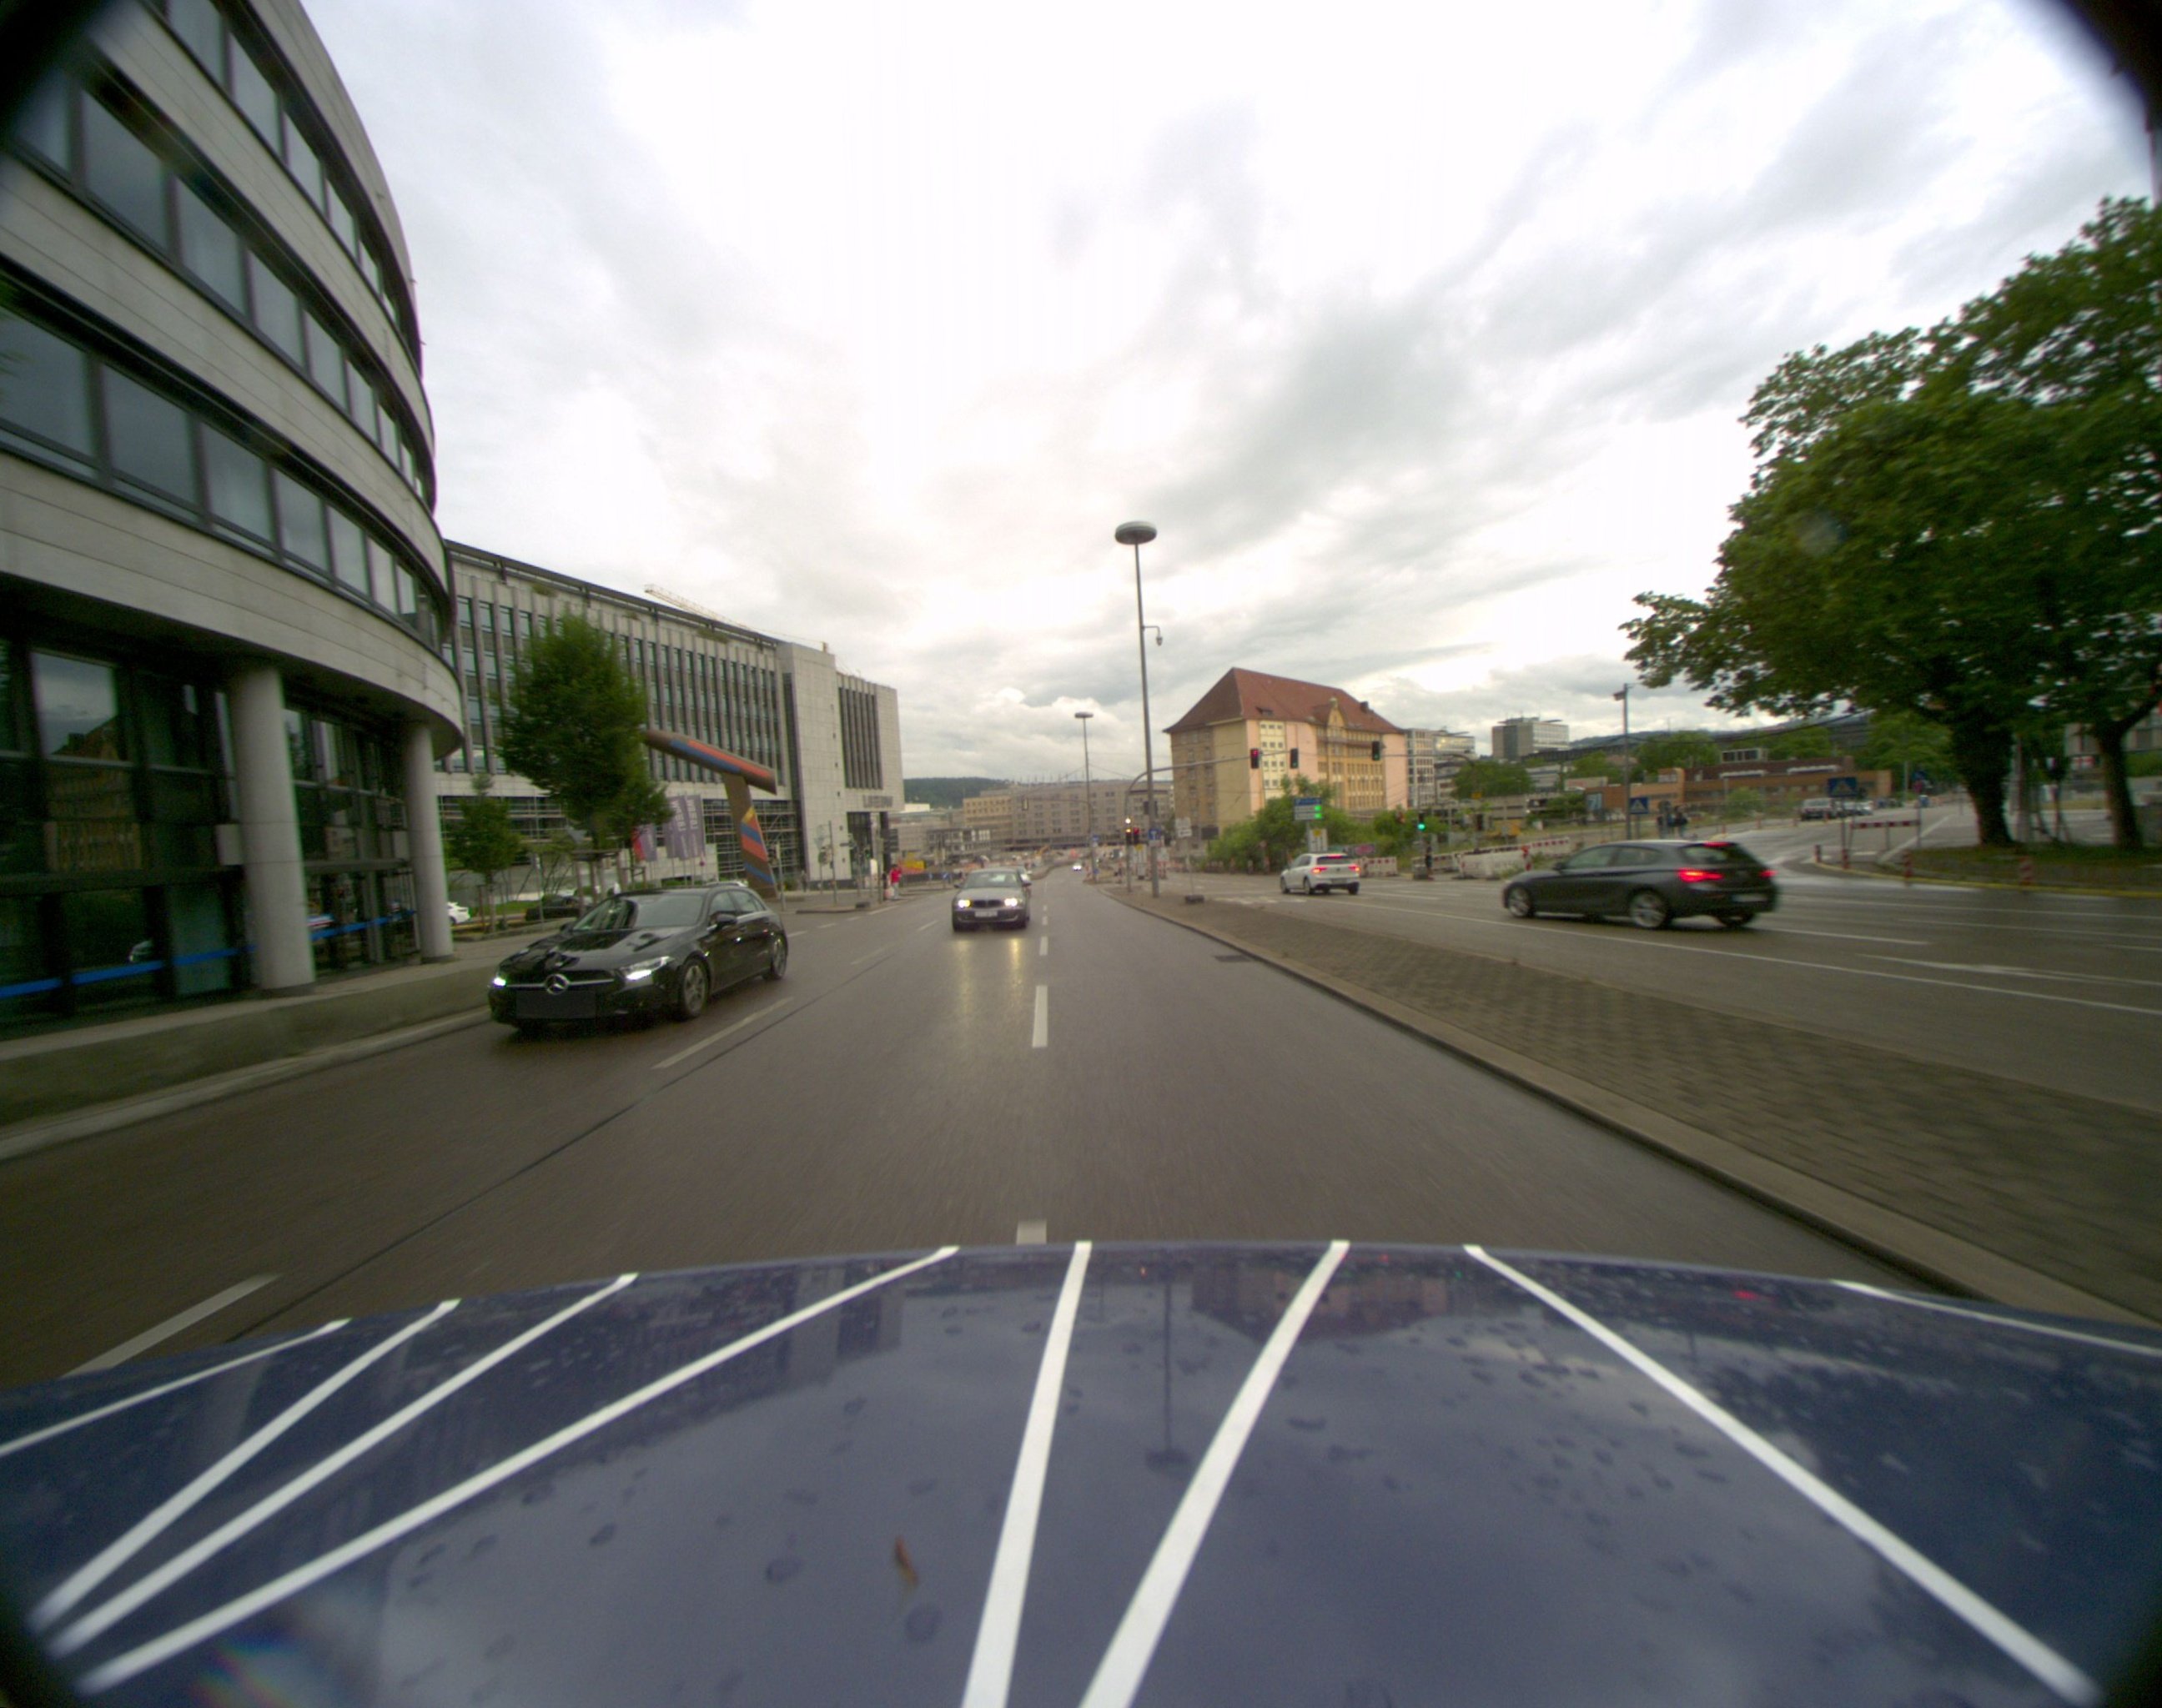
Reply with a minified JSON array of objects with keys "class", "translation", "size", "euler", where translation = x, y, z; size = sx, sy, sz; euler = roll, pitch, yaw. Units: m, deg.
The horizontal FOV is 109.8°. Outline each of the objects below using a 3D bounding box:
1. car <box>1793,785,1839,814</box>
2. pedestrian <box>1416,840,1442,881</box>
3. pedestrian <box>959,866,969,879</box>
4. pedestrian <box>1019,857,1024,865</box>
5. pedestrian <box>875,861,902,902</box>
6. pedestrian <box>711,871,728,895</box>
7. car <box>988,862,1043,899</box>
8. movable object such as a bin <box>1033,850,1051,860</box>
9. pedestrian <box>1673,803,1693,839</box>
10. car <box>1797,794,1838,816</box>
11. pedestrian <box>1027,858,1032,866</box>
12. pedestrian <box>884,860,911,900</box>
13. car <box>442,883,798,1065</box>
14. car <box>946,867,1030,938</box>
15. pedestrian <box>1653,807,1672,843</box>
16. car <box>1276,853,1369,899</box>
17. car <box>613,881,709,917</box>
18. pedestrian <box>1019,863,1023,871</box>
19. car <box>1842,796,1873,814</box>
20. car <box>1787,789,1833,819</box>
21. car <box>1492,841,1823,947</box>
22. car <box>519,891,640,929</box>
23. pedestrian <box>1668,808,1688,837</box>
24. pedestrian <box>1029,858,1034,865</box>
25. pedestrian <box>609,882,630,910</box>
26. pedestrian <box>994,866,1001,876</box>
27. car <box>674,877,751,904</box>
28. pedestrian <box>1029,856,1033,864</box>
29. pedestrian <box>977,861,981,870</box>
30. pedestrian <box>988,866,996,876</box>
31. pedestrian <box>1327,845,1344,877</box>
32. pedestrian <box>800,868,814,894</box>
[{"class":"car","translation":[56.507,-4.202,58.408],"size":[4.006,2.002,1.995],"euler":[-5,3,-39]},{"class":"pedestrian","translation":[16.430,0.293,35.856],"size":[0.743,1.870,0.746],"euler":[-4,2,-11]},{"class":"pedestrian","translation":[-15.322,2.388,99.574],"size":[0.730,1.642,1.062],"euler":[-3,1,26]},{"class":"pedestrian","translation":[-12.743,1.478,162.804],"size":[0.778,1.713,0.892],"euler":[-3,2,18]},{"class":"pedestrian","translation":[-9.269,1.310,36.586],"size":[0.841,1.894,0.733],"euler":[-2,3,24]},{"class":"pedestrian","translation":[-26.614,2.114,55.882],"size":[0.731,1.701,0.843],"euler":[-3,2,-2]},{"class":"car","translation":[-3.102,1.244,36.736],"size":[1.968,1.539,4.220],"euler":[-3,0,3]},{"class":"movable object such as a bin","translation":[-10.531,0.296,205.898],"size":[4.135,2.521,1.995],"euler":[-5,3,-36]},{"class":"pedestrian","translation":[36.600,-1.984,46.206],"size":[0.744,2.128,0.745],"euler":[-5,2,-38]},{"class":"car","translation":[62.963,-4.213,64.926],"size":[4.006,1.696,1.995],"euler":[-5,3,-39]},{"class":"pedestrian","translation":[-11.655,1.753,172.081],"size":[0.818,1.839,0.933],"euler":[-2,3,35]},{"class":"pedestrian","translation":[-9.106,1.283,37.742],"size":[0.841,1.894,0.862],"euler":[-2,3,24]},{"class":"car","translation":[-4.969,1.176,9.033],"size":[1.759,1.399,4.226],"euler":[-2,1,-3]},{"class":"car","translation":[-2.192,1.101,18.877],"size":[1.744,1.434,3.999],"euler":[-3,0,-3]},{"class":"pedestrian","translation":[36.064,-1.796,47.095],"size":[0.703,2.159,0.745],"euler":[-5,3,-38]},{"class":"car","translation":[8.590,0.761,27.421],"size":[1.766,1.452,4.359],"euler":[-2,-1,-2]},{"class":"car","translation":[-22.758,2.417,41.283],"size":[3.998,1.434,1.865],"euler":[-4,3,-3]},{"class":"pedestrian","translation":[-11.841,2.540,150.371],"size":[0.648,1.623,0.907],"euler":[-3,2,-1]},{"class":"car","translation":[83.271,-5.255,81.475],"size":[4.290,1.696,1.884],"euler":[-5,3,-39]},{"class":"car","translation":[52.291,-3.626,54.486],"size":[4.006,1.955,1.809],"euler":[-5,3,-39]},{"class":"car","translation":[9.382,0.593,12.925],"size":[1.813,1.440,4.336],"euler":[-2,-1,-12]},{"class":"car","translation":[-23.906,2.665,36.280],"size":[4.707,1.434,1.868],"euler":[-3,2,10]},{"class":"pedestrian","translation":[39.154,-2.074,49.813],"size":[0.786,1.842,0.766],"euler":[-4,0,-38]},{"class":"pedestrian","translation":[-11.365,1.723,175.424],"size":[0.647,1.544,0.767],"euler":[-2,3,35]},{"class":"pedestrian","translation":[-31.561,2.861,51.967],"size":[0.968,1.808,0.782],"euler":[-1,3,39]},{"class":"pedestrian","translation":[-13.160,2.660,119.658],"size":[0.732,1.566,0.806],"euler":[-3,2,26]},{"class":"car","translation":[-25.224,2.479,52.049],"size":[4.621,1.443,1.702],"euler":[-4,1,-29]},{"class":"pedestrian","translation":[-11.363,1.402,172.185],"size":[0.746,1.696,0.687],"euler":[-1,3,12]},{"class":"pedestrian","translation":[-20.757,2.303,154.228],"size":[0.567,1.738,0.495],"euler":[-3,2,17]},{"class":"pedestrian","translation":[-14.023,2.706,119.757],"size":[0.861,1.584,0.953],"euler":[-2,3,26]},{"class":"pedestrian","translation":[15.834,0.444,47.247],"size":[0.763,1.912,0.742],"euler":[-3,2,1]},{"class":"pedestrian","translation":[-22.948,2.259,63.720],"size":[0.856,2.086,0.903],"euler":[-5,1,-25]}]
